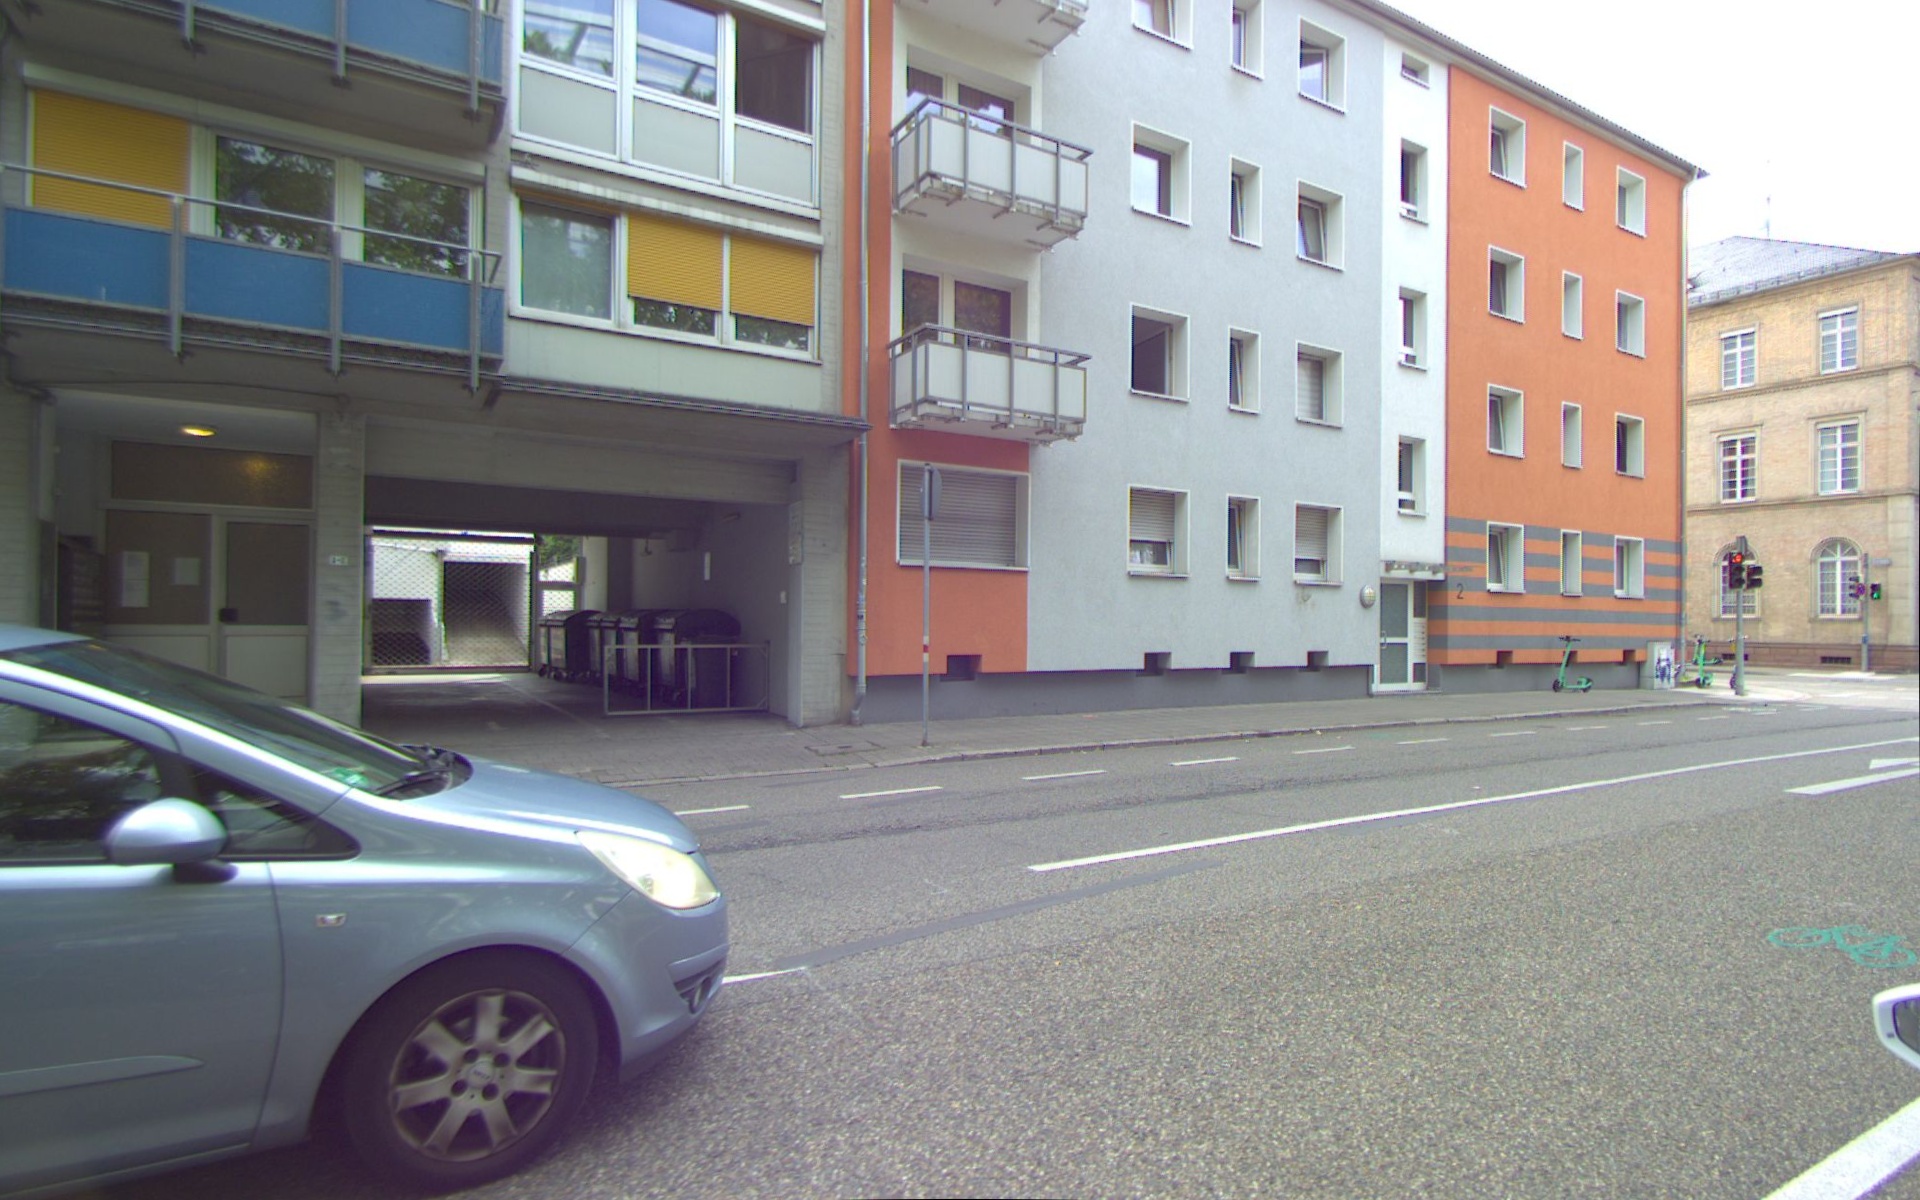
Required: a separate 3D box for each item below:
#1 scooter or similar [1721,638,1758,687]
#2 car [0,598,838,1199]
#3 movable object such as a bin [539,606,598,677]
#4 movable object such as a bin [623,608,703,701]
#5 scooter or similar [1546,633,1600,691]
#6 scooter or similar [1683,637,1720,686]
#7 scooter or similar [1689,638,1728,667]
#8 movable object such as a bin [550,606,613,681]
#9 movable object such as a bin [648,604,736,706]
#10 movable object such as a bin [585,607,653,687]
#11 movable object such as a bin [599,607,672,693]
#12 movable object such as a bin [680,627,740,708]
[{"bbox_3d":[18.979,1.527,24.450,1.130,1.159,0.375,3,-2,-34],"label":"scooter or similar"},{"bbox_3d":[-2.590,0.719,2.600,4.205,1.439,1.703,1,-1,-32],"label":"car"},{"bbox_3d":[-8.526,0.881,21.855,1.040,1.483,1.184,1,-1,-30],"label":"movable object such as a bin"},{"bbox_3d":[-4.967,0.888,16.762,1.040,1.483,1.184,1,-1,-30],"label":"movable object such as a bin"},{"bbox_3d":[13.046,1.320,21.375,1.374,1.199,0.376,3,-2,-31],"label":"scooter or similar"},{"bbox_3d":[18.229,1.519,24.685,1.130,1.162,0.375,3,-2,-34],"label":"scooter or similar"},{"bbox_3d":[28.217,1.969,37.869,0.375,1.063,1.133,3,-2,-30],"label":"scooter or similar"},{"bbox_3d":[-7.818,0.880,20.730,1.040,1.483,1.184,1,-1,-30],"label":"movable object such as a bin"},{"bbox_3d":[-4.145,0.823,15.492,1.040,1.483,1.184,1,-1,-30],"label":"movable object such as a bin"},{"bbox_3d":[-6.626,0.889,19.498,1.040,1.483,1.184,1,-1,-30],"label":"movable object such as a bin"},{"bbox_3d":[-5.882,0.887,18.186,1.040,1.483,1.184,1,-1,-30],"label":"movable object such as a bin"},{"bbox_3d":[-3.650,0.964,14.663,0.701,1.140,0.639,1,-1,-30],"label":"movable object such as a bin"}]
